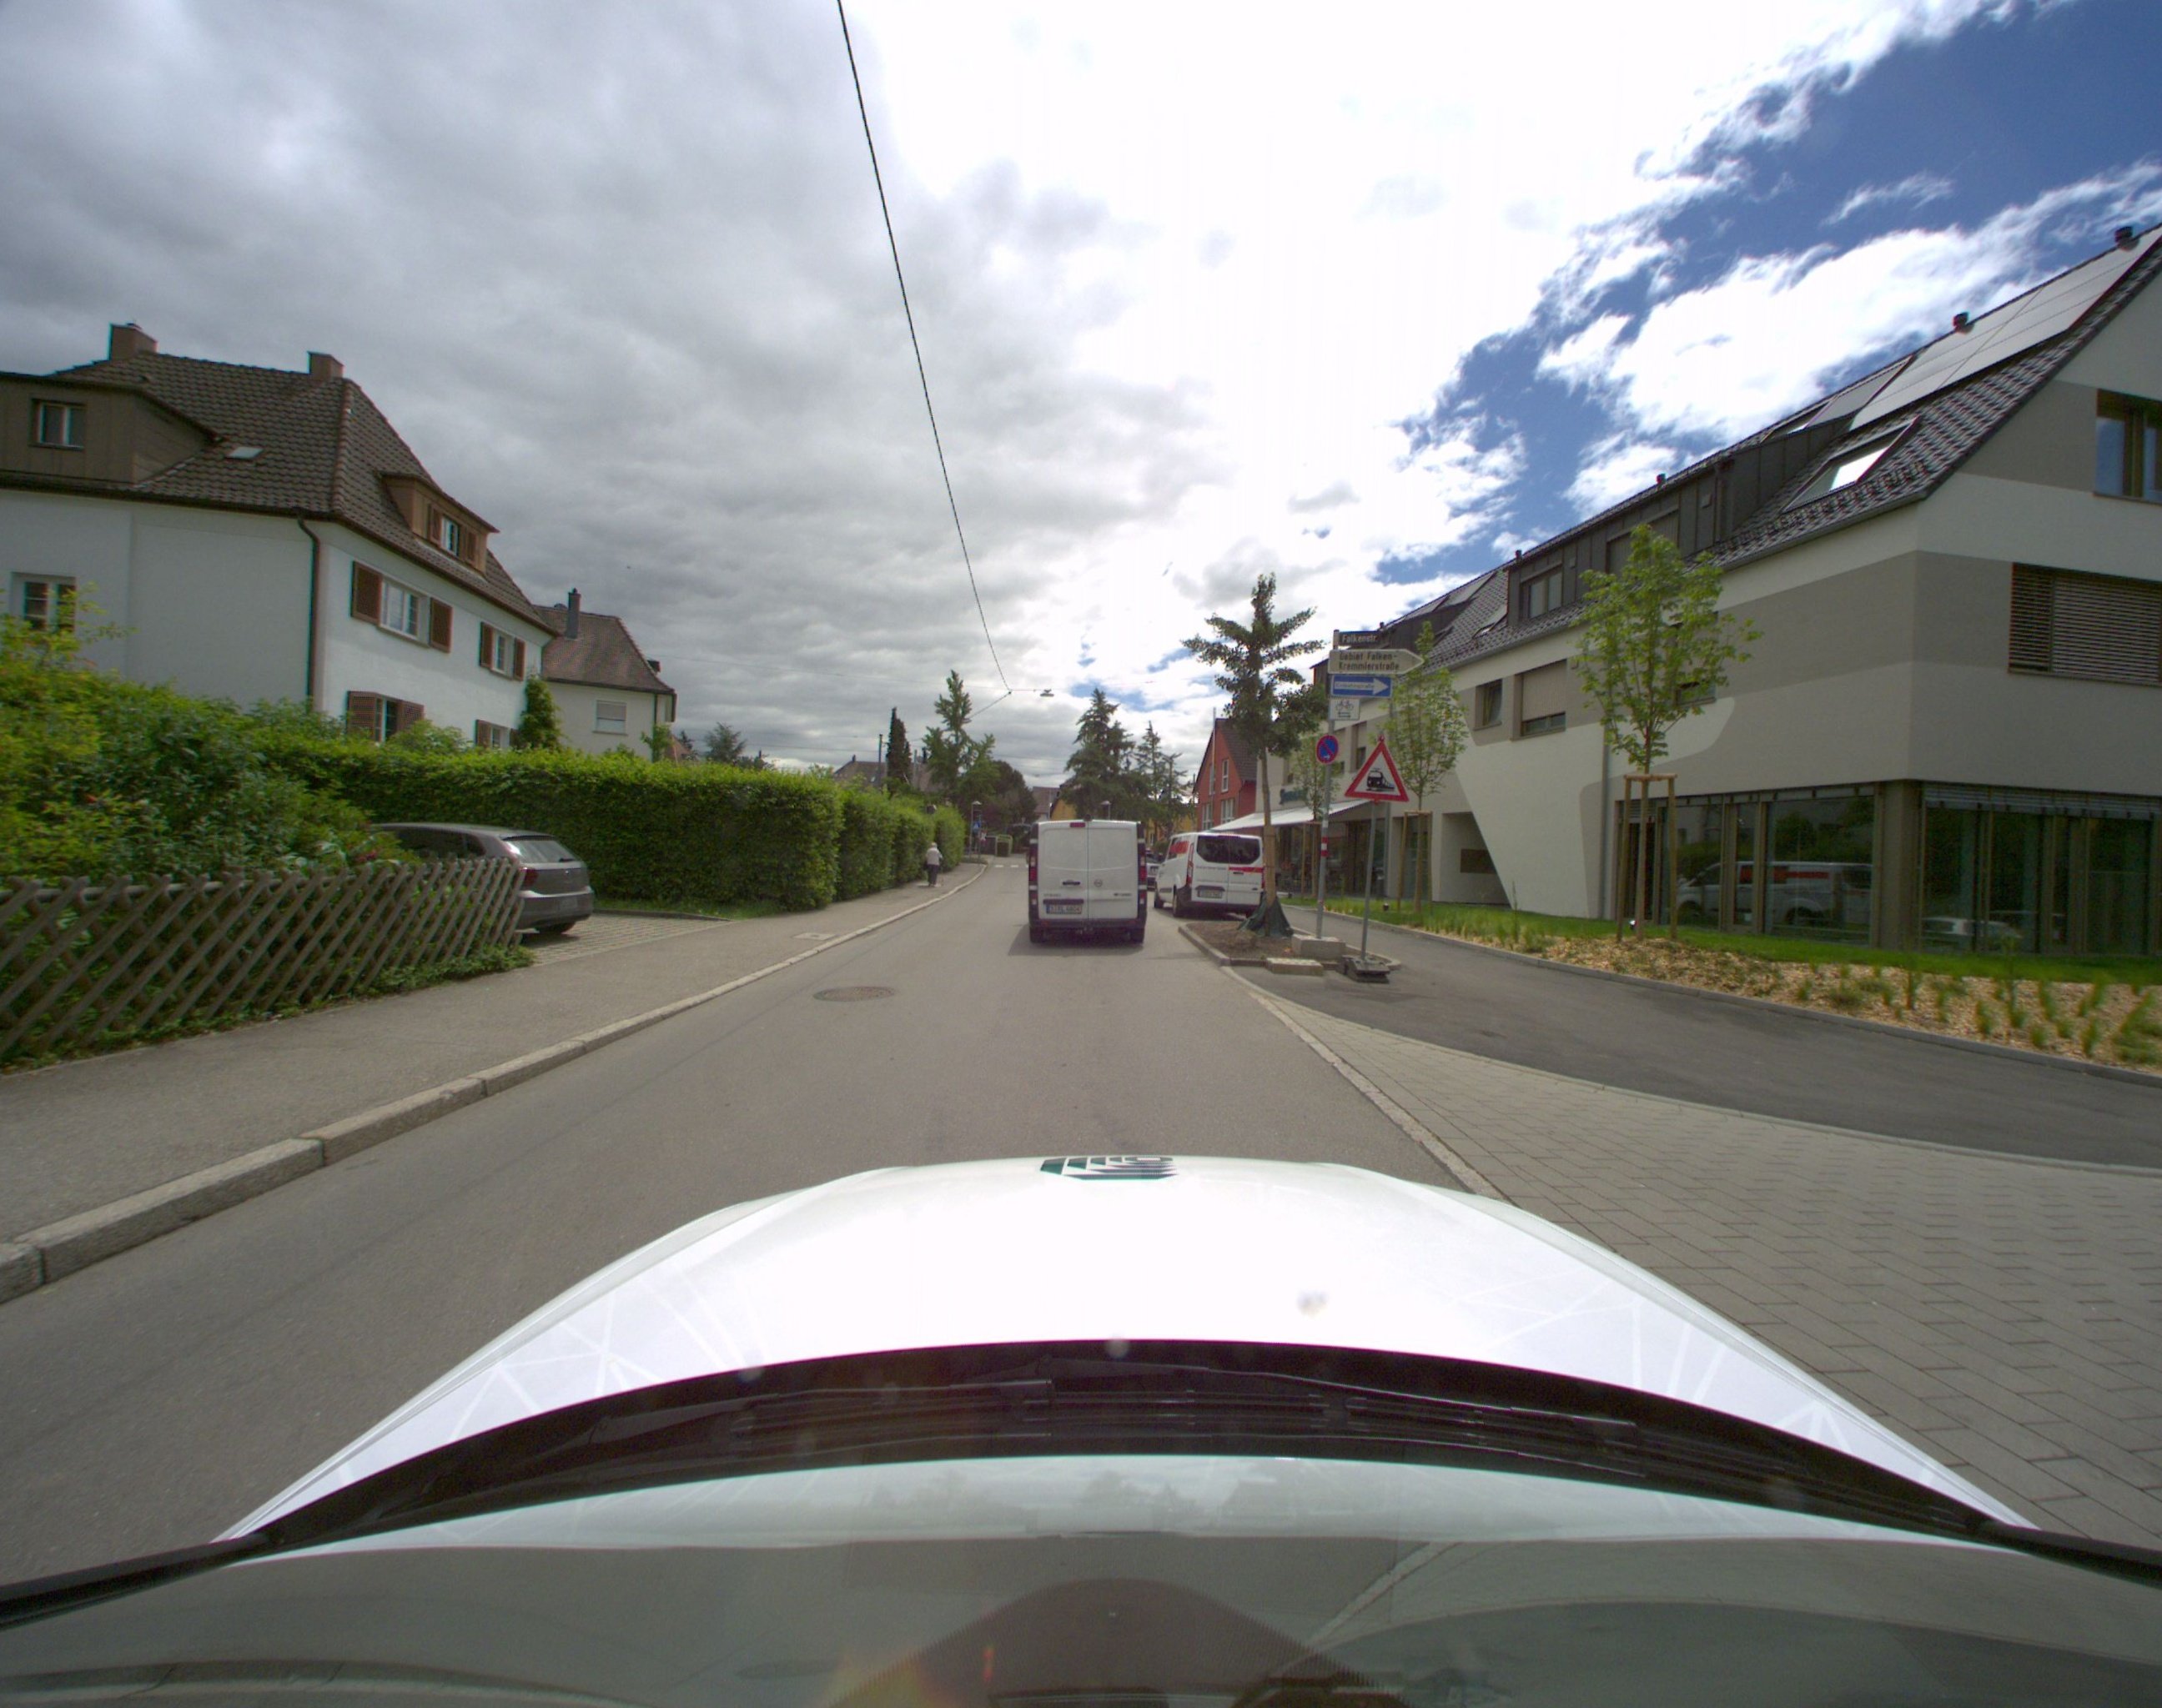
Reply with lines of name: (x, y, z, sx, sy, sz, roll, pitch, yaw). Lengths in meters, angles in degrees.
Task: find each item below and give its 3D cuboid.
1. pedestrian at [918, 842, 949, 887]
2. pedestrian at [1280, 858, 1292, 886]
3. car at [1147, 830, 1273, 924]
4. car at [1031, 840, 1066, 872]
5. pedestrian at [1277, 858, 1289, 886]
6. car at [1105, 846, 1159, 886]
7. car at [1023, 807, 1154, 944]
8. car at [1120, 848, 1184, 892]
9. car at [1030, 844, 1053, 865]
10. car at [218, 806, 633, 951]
pedestrian: (-5.085, 0.374, 28.131, 0.879, 1.485, 0.452, 4, -1, -23)
pedestrian: (8.680, 0.766, 34.481, 0.420, 1.165, 0.323, 2, -1, -5)
car: (2.993, 0.509, 20.024, 1.954, 1.916, 4.895, 4, -1, -4)
car: (-2.002, 0.116, 49.878, 1.989, 1.848, 3.996, 1, 0, -3)
pedestrian: (8.643, 0.762, 34.837, 0.420, 1.182, 0.323, 2, -1, -5)
car: (2.208, 0.494, 36.490, 1.700, 1.614, 4.250, 4, 0, -5)
car: (0.052, 0.348, 14.391, 1.911, 2.003, 4.434, 1, -1, -2)
car: (2.696, 0.596, 31.719, 1.739, 1.494, 3.648, 4, -1, -6)
car: (-3.601, 0.063, 73.878, 1.989, 1.782, 3.996, 1, 0, -3)
car: (-8.108, 0.294, 10.372, 3.660, 1.434, 1.817, 4, -1, -1)
